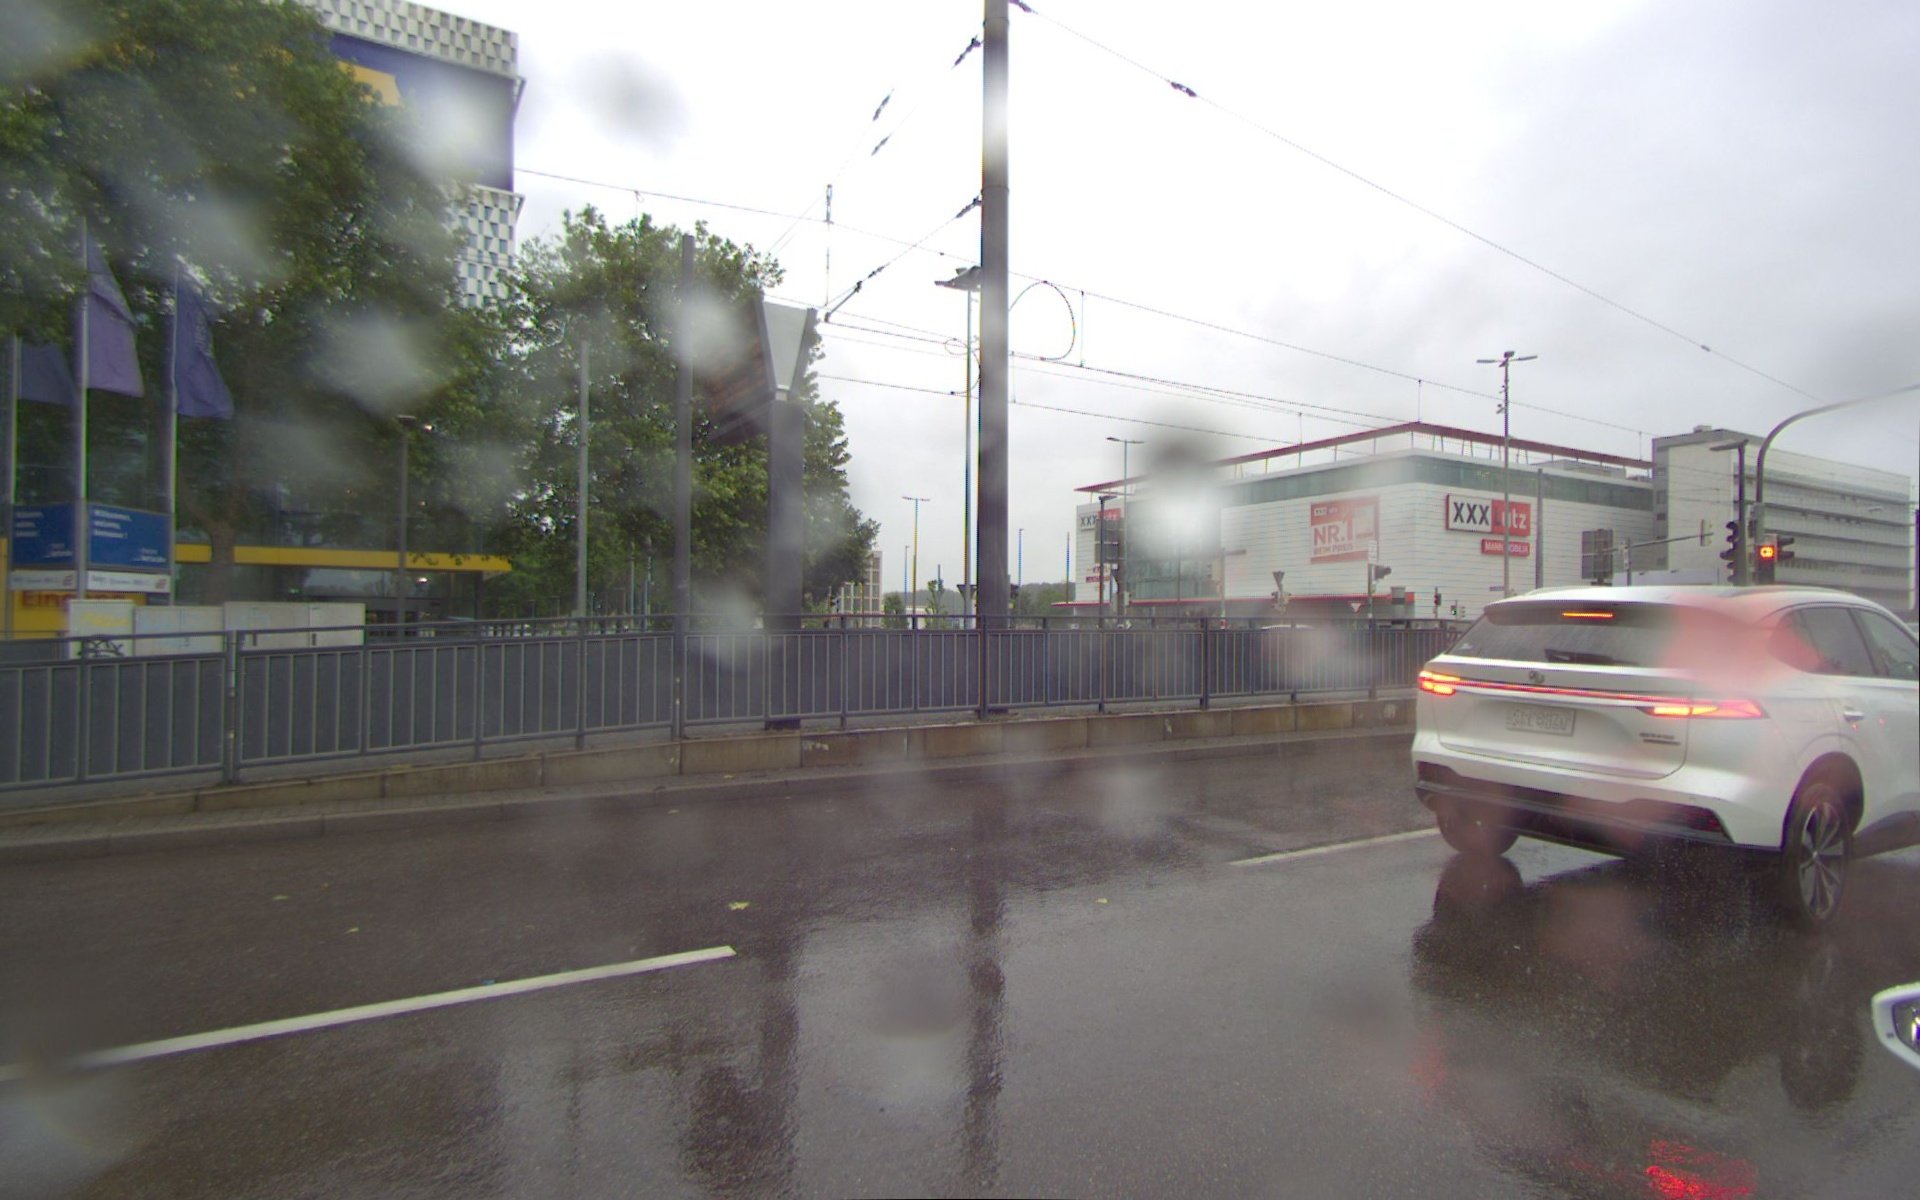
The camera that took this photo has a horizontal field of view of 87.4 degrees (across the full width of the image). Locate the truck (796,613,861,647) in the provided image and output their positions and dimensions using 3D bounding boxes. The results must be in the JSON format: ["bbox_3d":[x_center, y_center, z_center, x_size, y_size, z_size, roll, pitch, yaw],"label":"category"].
[{"bbox_3d":[-10.614,2.381,80.361,2.445,2.240,7.329,3,1,-31],"label":"truck"}]

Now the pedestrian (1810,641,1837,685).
[{"bbox_3d":[18.492,1.337,21.511,0.376,0.909,0.313,1,2,-32],"label":"pedestrian"}]

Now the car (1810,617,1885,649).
[{"bbox_3d":[44.794,1.671,50.668,3.765,1.445,1.702,3,1,-30],"label":"car"}]

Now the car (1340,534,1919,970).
[{"bbox_3d":[4.681,0.666,6.147,4.609,1.799,1.921,2,0,-30],"label":"car"}]

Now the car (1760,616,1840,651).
[{"bbox_3d":[39.815,1.591,47.614,3.765,1.445,1.702,3,1,-30],"label":"car"}]

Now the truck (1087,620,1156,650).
[{"bbox_3d":[12.597,2.695,78.586,1.990,1.968,5.847,3,1,-31],"label":"truck"}]

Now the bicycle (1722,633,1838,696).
[{"bbox_3d":[16.593,1.291,20.365,1.724,1.153,0.520,2,0,18],"label":"bicycle"}]

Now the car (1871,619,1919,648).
[{"bbox_3d":[50.972,1.826,54.262,3.527,1.445,1.552,3,1,-30],"label":"car"}]

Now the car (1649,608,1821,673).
[{"bbox_3d":[21.672,1.089,28.179,3.687,1.527,1.643,3,1,40],"label":"car"}]

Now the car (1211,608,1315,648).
[{"bbox_3d":[13.032,1.195,43.482,1.633,1.447,4.213,2,1,-33],"label":"car"}]

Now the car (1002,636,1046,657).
[{"bbox_3d":[5.250,3.831,82.420,1.589,1.394,4.030,3,1,-30],"label":"car"}]

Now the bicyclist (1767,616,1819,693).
[{"bbox_3d":[16.818,1.083,20.298,0.593,1.511,0.600,2,0,20],"label":"bicyclist"}]
